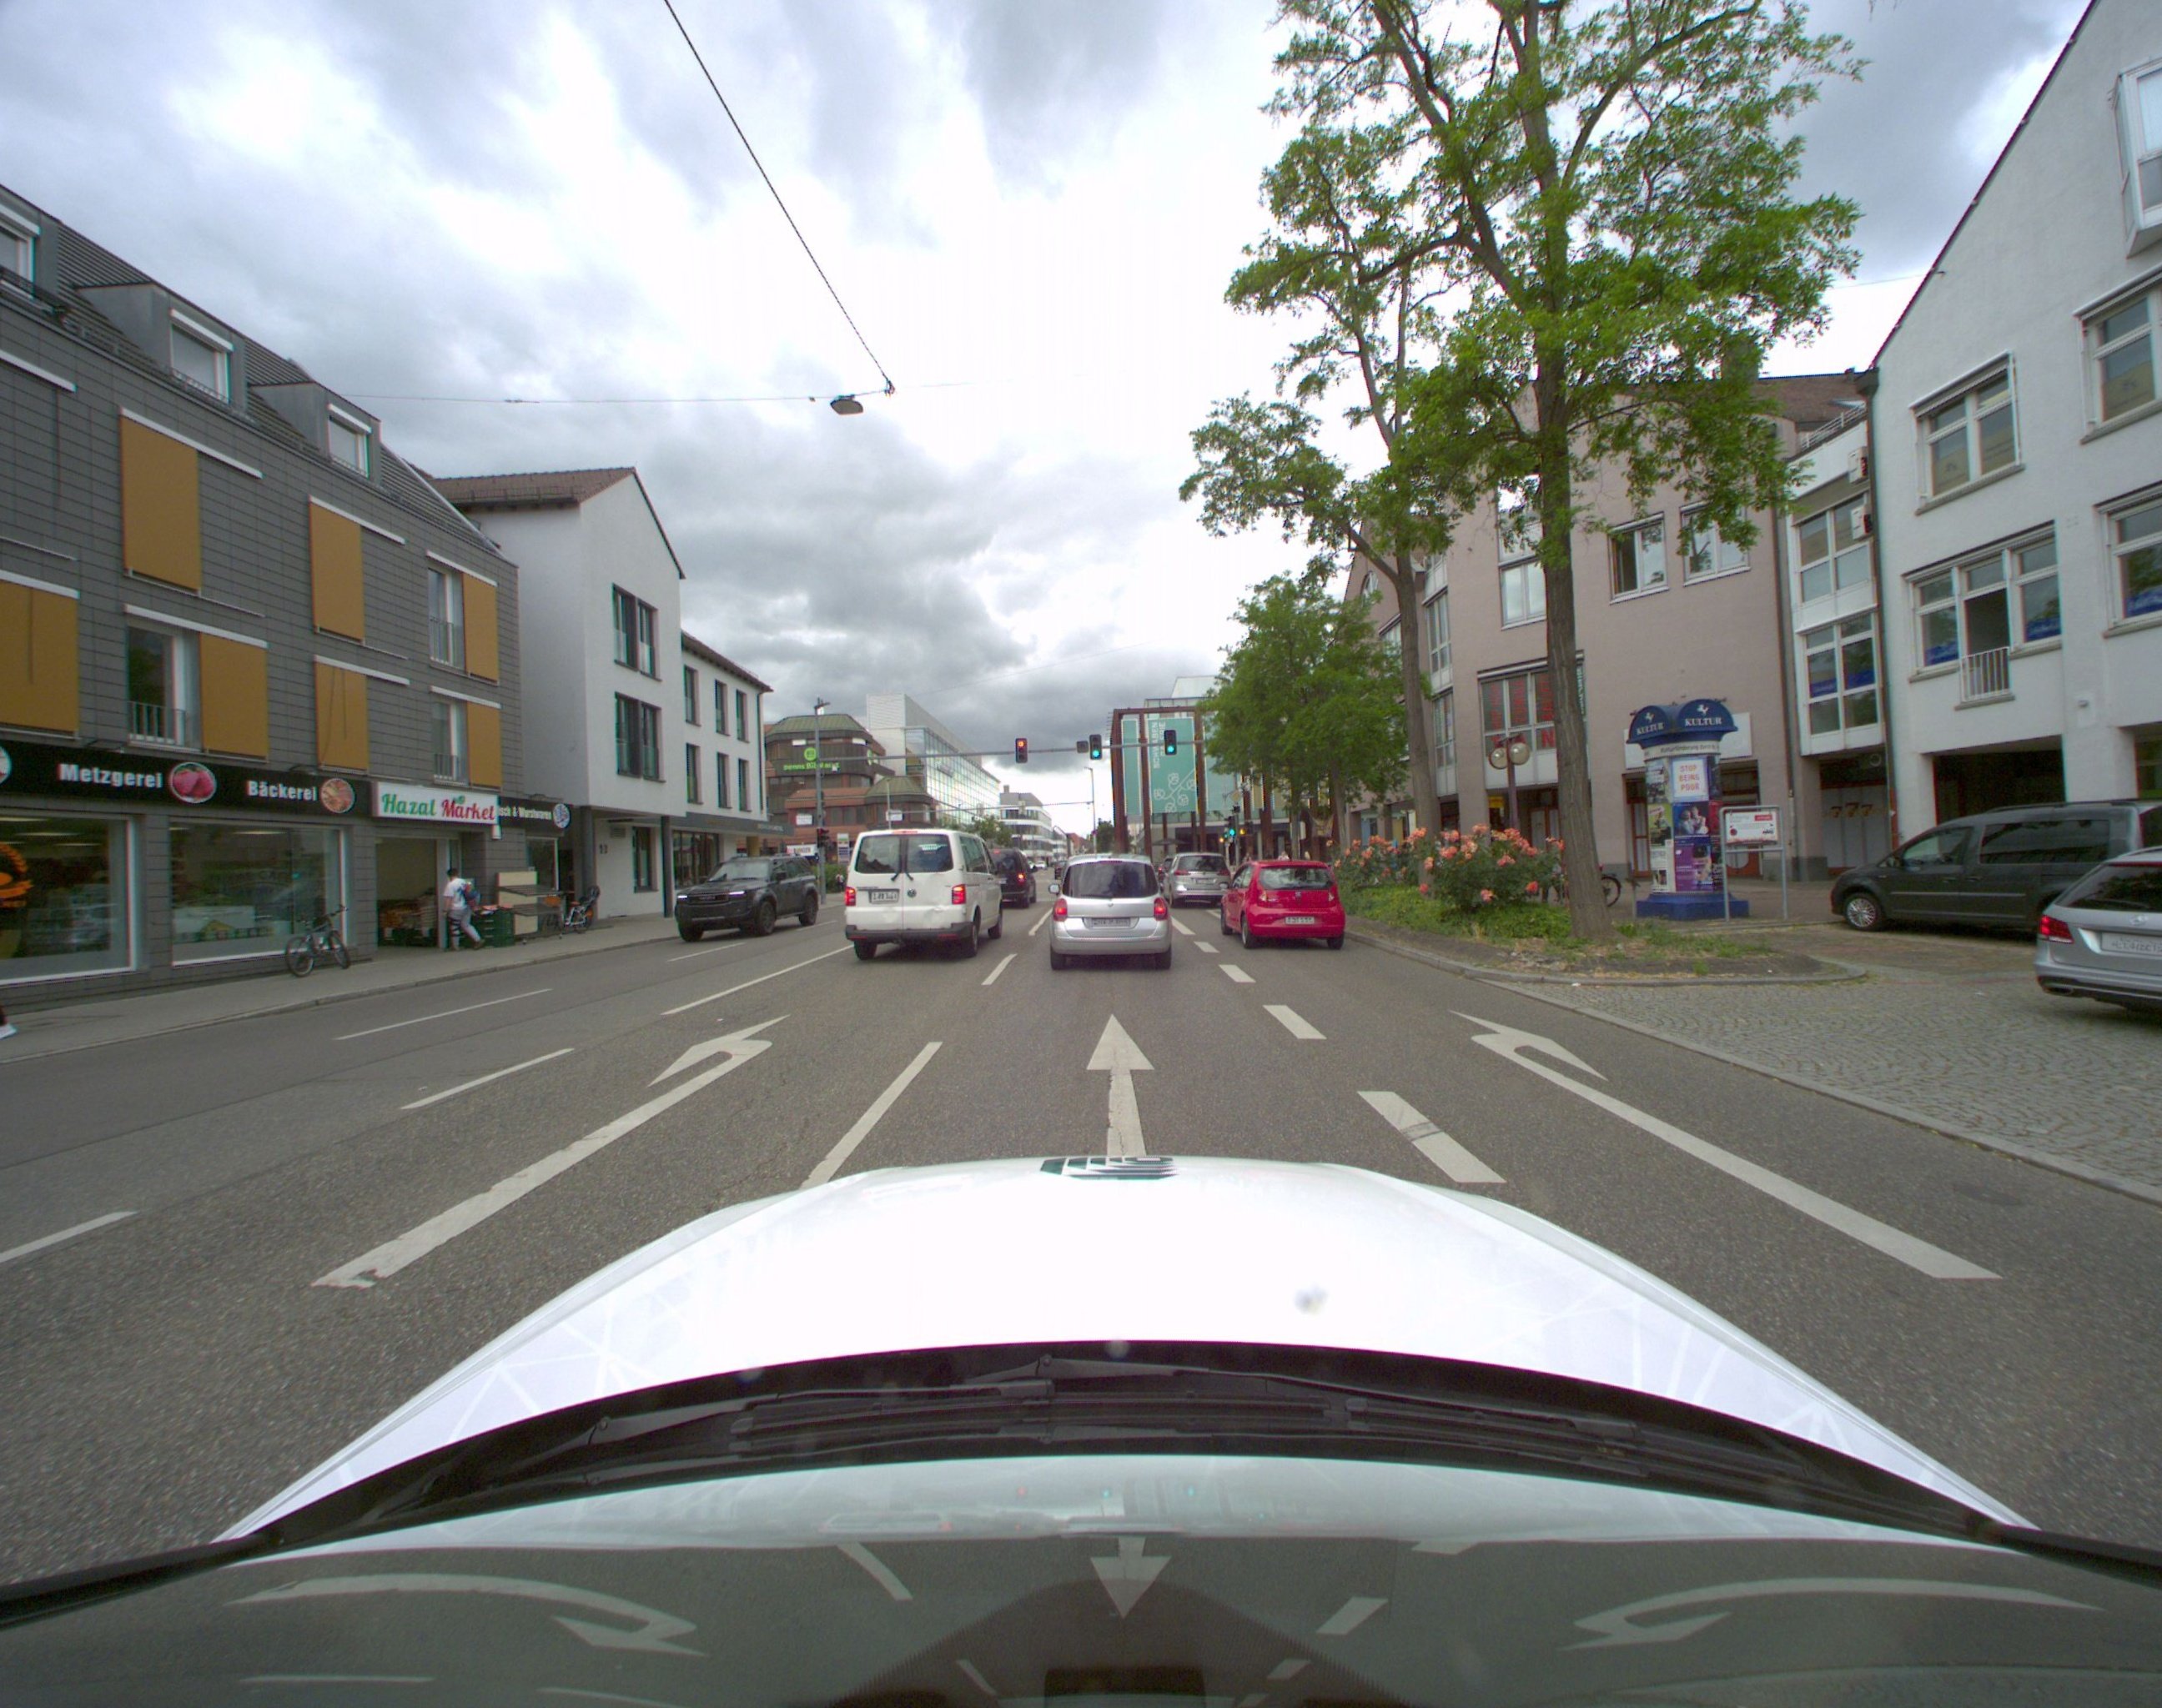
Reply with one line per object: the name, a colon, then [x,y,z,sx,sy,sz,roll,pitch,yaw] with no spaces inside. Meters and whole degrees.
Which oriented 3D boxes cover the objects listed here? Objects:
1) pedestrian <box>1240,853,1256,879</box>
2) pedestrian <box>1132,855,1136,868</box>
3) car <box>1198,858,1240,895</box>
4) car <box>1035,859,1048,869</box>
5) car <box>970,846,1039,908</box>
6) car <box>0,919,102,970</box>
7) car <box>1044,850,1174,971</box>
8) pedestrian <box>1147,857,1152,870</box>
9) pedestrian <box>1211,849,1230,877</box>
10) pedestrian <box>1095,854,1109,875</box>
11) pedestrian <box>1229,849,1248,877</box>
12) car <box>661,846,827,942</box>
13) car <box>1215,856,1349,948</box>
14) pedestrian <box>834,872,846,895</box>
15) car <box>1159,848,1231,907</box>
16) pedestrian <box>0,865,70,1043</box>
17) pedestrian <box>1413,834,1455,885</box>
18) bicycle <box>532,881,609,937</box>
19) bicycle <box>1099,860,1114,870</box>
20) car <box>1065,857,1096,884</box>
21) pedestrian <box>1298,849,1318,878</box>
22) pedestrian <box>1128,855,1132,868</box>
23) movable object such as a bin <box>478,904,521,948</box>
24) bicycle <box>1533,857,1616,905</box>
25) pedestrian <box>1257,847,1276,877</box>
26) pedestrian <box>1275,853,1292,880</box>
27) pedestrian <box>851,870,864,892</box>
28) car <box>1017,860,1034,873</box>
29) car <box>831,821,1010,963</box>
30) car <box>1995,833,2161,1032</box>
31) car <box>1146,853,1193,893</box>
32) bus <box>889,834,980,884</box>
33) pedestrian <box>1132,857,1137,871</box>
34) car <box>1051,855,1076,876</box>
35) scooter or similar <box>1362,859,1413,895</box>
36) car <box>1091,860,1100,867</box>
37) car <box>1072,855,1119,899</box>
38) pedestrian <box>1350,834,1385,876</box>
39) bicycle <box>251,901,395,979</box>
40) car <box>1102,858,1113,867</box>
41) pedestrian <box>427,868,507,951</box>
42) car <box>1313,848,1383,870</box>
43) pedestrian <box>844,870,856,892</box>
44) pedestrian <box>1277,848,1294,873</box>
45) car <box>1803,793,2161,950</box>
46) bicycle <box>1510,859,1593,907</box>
pedestrian: [10.657,0.779,52.111,0.739,1.626,0.953,-3,0,-2]
pedestrian: [6.501,0.923,100.269,0.425,1.549,0.481,-2,-1,-1]
car: [6.636,1.015,38.918,1.839,1.609,4.876,-1,0,11]
car: [-6.312,1.623,131.462,1.654,1.465,4.002,-3,0,2]
car: [-2.408,0.699,26.639,1.701,1.821,4.573,0,0,2]
car: [-29.200,2.530,21.927,1.387,1.180,3.357,-6,-1,6]
car: [0.414,0.738,12.356,1.663,1.554,3.643,0,0,2]
pedestrian: [6.140,0.853,73.071,0.445,1.220,0.607,-2,-1,5]
pedestrian: [8.583,0.544,50.016,0.876,1.681,1.120,-2,-1,-1]
pedestrian: [1.703,0.859,65.166,0.861,1.646,0.685,-2,0,36]
pedestrian: [9.674,0.536,50.135,0.876,1.681,1.120,-2,-1,-1]
car: [-8.056,0.882,20.068,1.916,1.968,4.770,-3,0,1]
car: [3.482,0.775,14.703,1.620,1.448,3.643,0,0,2]
pedestrian: [-17.127,2.096,57.898,0.636,1.588,0.526,-2,-1,3]
car: [3.502,0.680,25.693,1.733,1.701,4.381,0,0,1]
pedestrian: [-11.547,1.050,8.474,0.704,1.839,1.029,-2,-1,3]
pedestrian: [11.557,0.175,26.694,0.806,1.626,1.093,-3,0,-1]
bicycle: [-12.777,1.345,20.460,0.580,1.232,2.119,-2,0,0]
bicycle: [2.698,1.209,86.675,1.553,0.992,0.753,-2,-1,4]
car: [0.019,0.910,46.674,1.663,1.495,3.643,0,0,2]
pedestrian: [14.348,0.588,51.512,0.876,1.767,1.120,-2,-1,-1]
pedestrian: [6.074,0.923,100.303,0.425,1.549,0.481,-2,-1,-1]
movable object such as a bin: [-12.741,1.565,17.850,0.549,0.899,0.507,-2,0,0]
bicycle: [11.303,0.630,18.677,1.549,1.048,0.409,-3,-1,43]
pedestrian: [11.459,0.504,50.375,0.876,1.767,1.120,-2,-1,-1]
pedestrian: [12.670,0.767,50.901,0.739,1.626,0.953,-3,0,-2]
pedestrian: [-16.299,1.960,59.384,0.636,1.588,0.657,-2,-1,3]
car: [-6.862,1.499,101.253,1.738,1.459,4.236,-3,0,1]
car: [-2.504,0.552,14.058,1.986,2.014,4.841,-1,0,2]
car: [10.430,0.494,6.333,4.622,1.453,1.740,-3,0,0]
car: [3.914,0.802,36.590,1.733,1.701,4.382,0,0,2]
bus: [-11.264,0.302,64.443,2.970,3.327,12.336,-5,0,9]
pedestrian: [4.822,0.864,73.168,0.445,1.220,0.607,-2,-1,4]
car: [-1.301,0.833,60.354,1.663,1.495,3.643,0,0,2]
scooter or similar: [9.833,0.731,26.227,0.471,1.087,1.877,-2,-1,-16]
car: [2.995,1.974,170.569,1.654,1.465,4.002,-3,0,2]
car: [0.561,0.842,30.797,1.663,1.554,3.643,0,0,2]
pedestrian: [12.148,0.028,34.598,1.052,1.715,1.110,-2,-1,0]
bicycle: [-12.724,1.408,13.760,0.569,1.101,1.903,-2,0,2]
car: [4.268,1.353,130.795,1.870,1.335,4.002,0,0,2]
pedestrian: [-12.809,1.134,17.011,0.884,1.643,0.971,-2,-1,1]
car: [18.126,0.343,55.385,4.161,1.404,1.800,-1,0,-2]
pedestrian: [-16.981,1.971,59.945,0.636,1.588,0.526,-2,-1,3]
pedestrian: [13.537,0.436,53.997,0.819,1.595,1.039,-2,-1,0]
car: [13.112,0.179,11.629,1.729,1.804,4.259,-3,0,-1]
bicycle: [10.647,0.657,18.469,1.549,1.048,0.409,-3,-1,43]
